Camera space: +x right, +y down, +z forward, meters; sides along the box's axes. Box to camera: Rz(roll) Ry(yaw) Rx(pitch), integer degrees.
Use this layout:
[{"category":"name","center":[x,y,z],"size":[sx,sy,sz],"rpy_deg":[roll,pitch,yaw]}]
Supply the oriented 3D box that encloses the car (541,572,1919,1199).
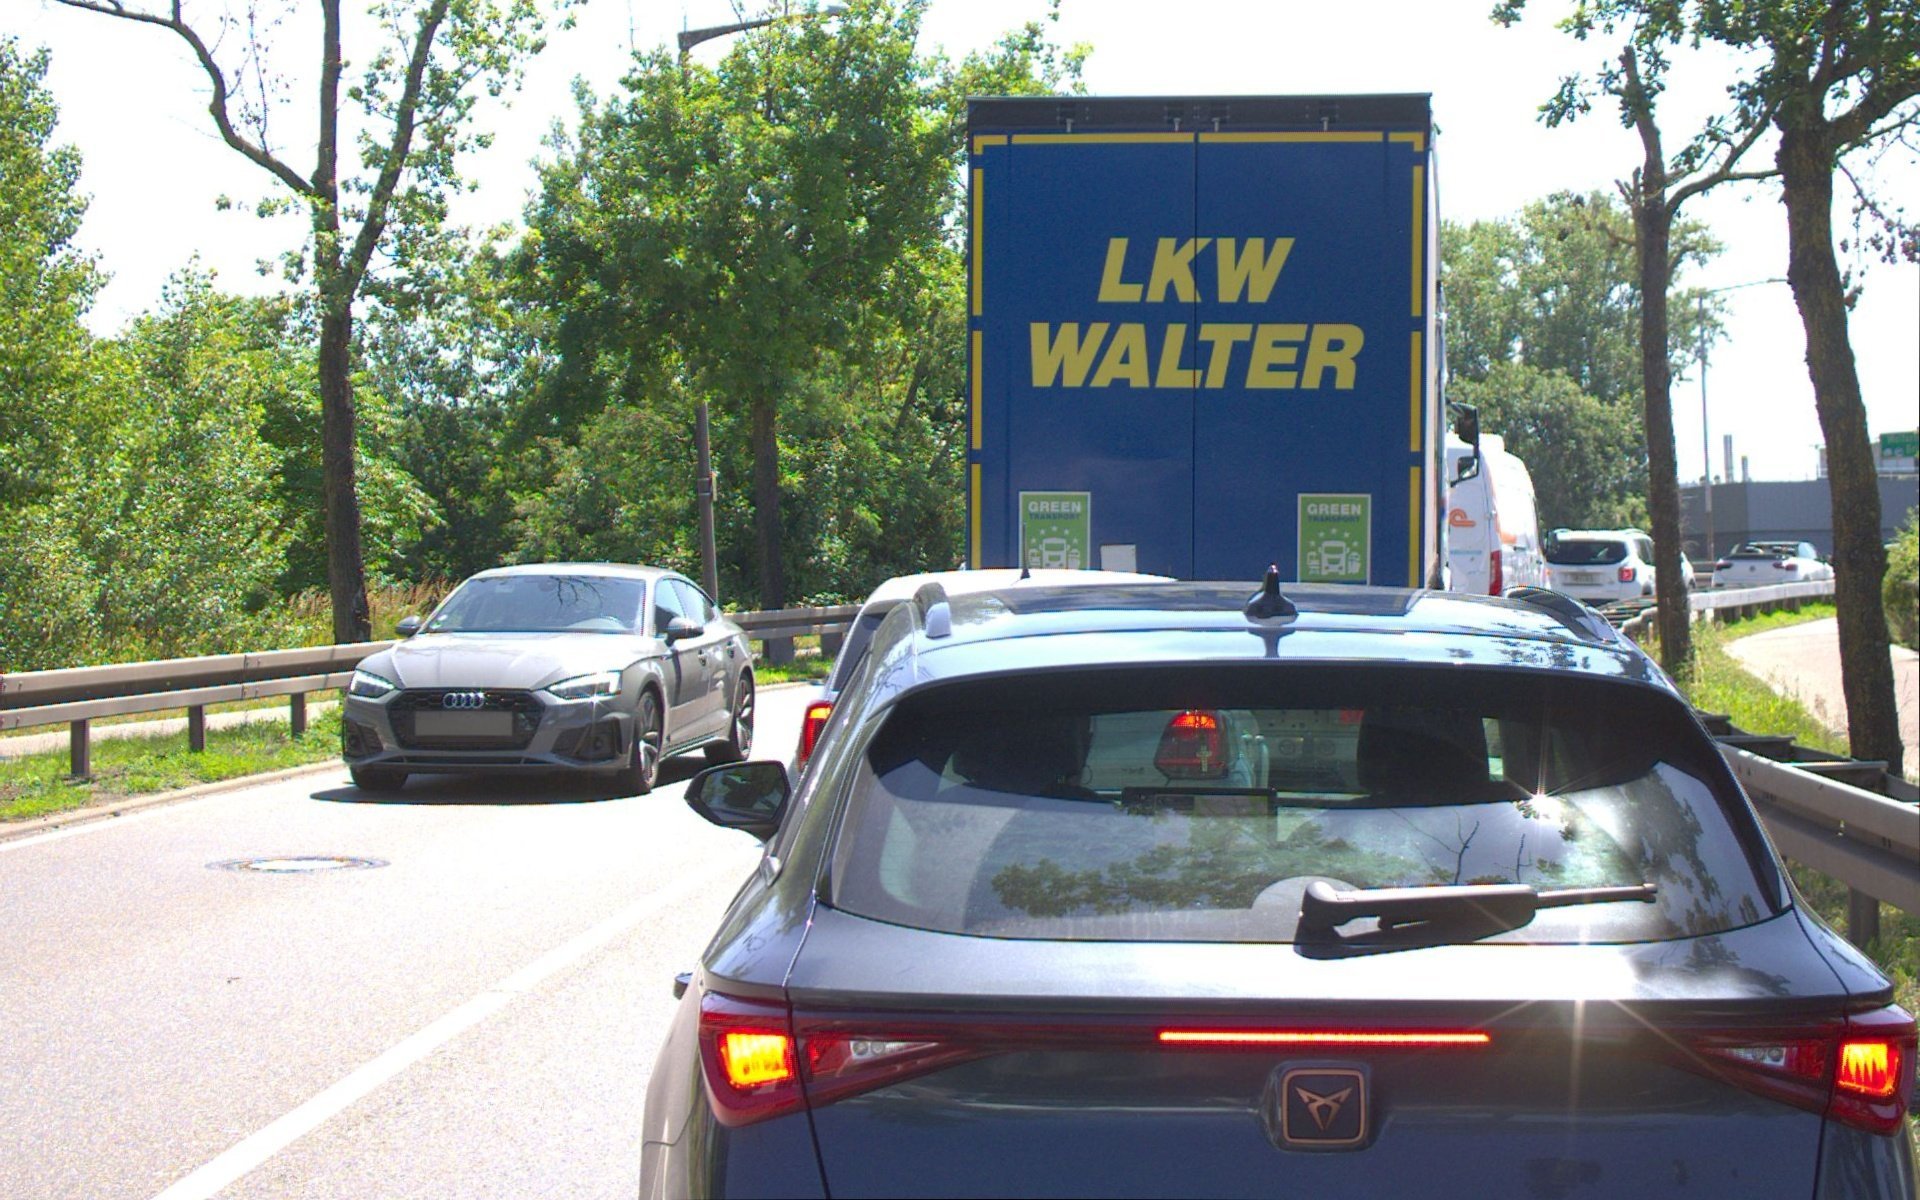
[{"category":"car","center":[0.417,0.692,5.613],"size":[1.744,1.427,3.880],"rpy_deg":[1,1,0]}]

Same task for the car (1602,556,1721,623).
[{"category":"car","center":[15.387,-0.244,75.212],"size":[1.859,1.391,4.401],"rpy_deg":[1,1,21]}]

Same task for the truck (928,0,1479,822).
[{"category":"truck","center":[2.421,-1.148,27.055],"size":[2.951,4.433,16.793],"rpy_deg":[1,1,8]}]

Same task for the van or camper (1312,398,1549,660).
[{"category":"van or camper","center":[5.925,-0.867,42.594],"size":[2.467,2.988,6.083],"rpy_deg":[1,1,12]}]

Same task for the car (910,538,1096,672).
[{"category":"car","center":[0.549,0.027,40.029],"size":[1.671,1.461,3.819],"rpy_deg":[1,1,8]}]

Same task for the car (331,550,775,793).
[{"category":"car","center":[-2.507,0.384,22.271],"size":[1.760,1.391,4.404],"rpy_deg":[1,1,8]}]

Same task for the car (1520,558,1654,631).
[{"category":"car","center":[12.537,-0.132,68.573],"size":[1.859,1.391,4.401],"rpy_deg":[1,1,21]}]

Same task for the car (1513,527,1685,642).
[{"category":"car","center":[10.146,-0.263,54.338],"size":[1.995,1.706,4.616],"rpy_deg":[1,1,19]}]

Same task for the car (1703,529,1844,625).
[{"category":"car","center":[16.063,-0.460,67.732],"size":[1.996,1.802,4.840],"rpy_deg":[1,1,22]}]

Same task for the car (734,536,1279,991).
[{"category":"car","center":[0.199,0.516,13.526],"size":[1.809,1.503,4.000],"rpy_deg":[1,1,1]}]
